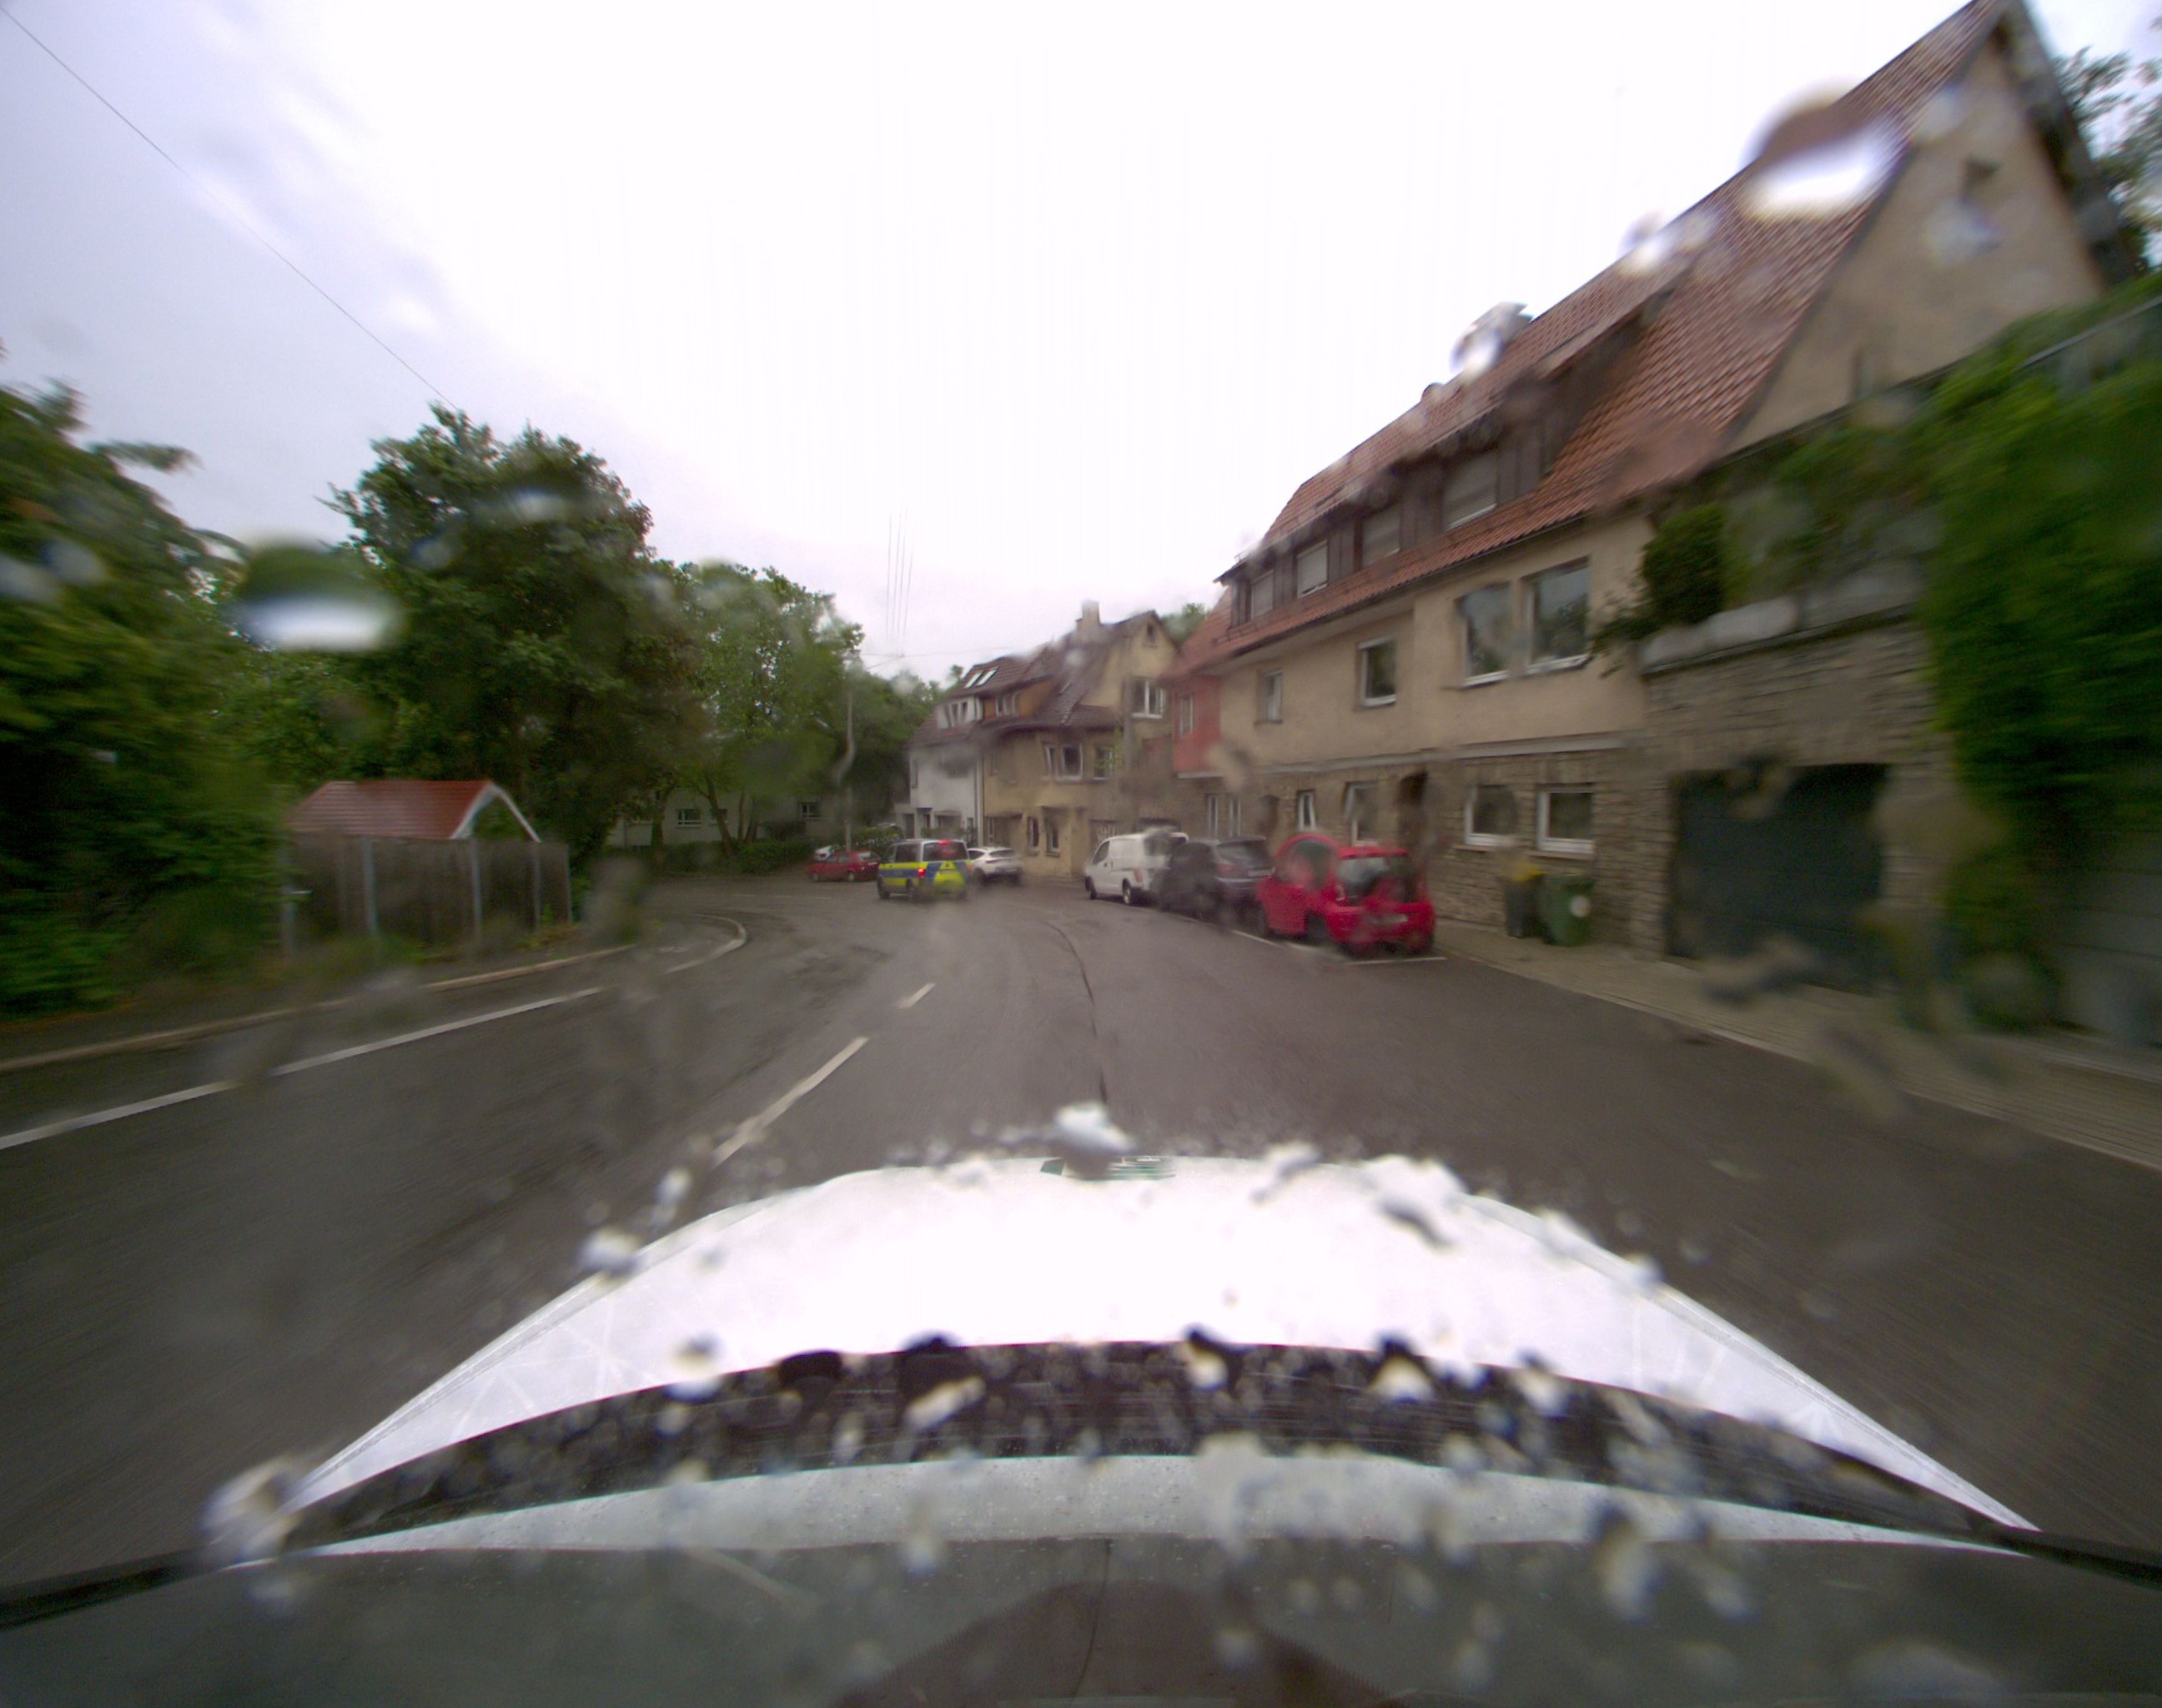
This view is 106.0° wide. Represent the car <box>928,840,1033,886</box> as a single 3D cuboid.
[{"bbox_3d":[-3.967,0.347,31.525,1.930,1.538,4.363,-5,3,-39],"label":"car"}]

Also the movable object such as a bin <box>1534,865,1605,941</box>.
[{"bbox_3d":[6.500,0.637,10.857,0.594,0.923,0.513,-4,2,-5],"label":"movable object such as a bin"}]

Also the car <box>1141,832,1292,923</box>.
[{"bbox_3d":[2.753,0.383,17.589,1.617,1.604,4.393,-4,2,-12],"label":"car"}]

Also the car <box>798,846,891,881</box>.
[{"bbox_3d":[-11.097,0.447,38.180,4.141,1.367,1.798,-2,2,32],"label":"car"}]

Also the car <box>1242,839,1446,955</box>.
[{"bbox_3d":[3.810,0.545,12.445,1.613,1.435,3.573,-2,0,-6],"label":"car"}]

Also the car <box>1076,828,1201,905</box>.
[{"bbox_3d":[1.450,0.277,22.390,1.711,1.790,4.296,-4,2,-21],"label":"car"}]

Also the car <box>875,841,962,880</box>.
[{"bbox_3d":[-7.009,0.292,34.992,3.775,1.514,1.781,-2,3,44],"label":"car"}]

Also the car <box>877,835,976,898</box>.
[{"bbox_3d":[-5.246,0.411,27.133,2.005,1.893,4.528,-1,-1,-28],"label":"car"}]

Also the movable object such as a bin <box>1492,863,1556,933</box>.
[{"bbox_3d":[6.331,0.621,11.663,0.586,0.923,0.507,-4,2,-5],"label":"movable object such as a bin"}]

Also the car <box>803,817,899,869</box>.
[{"bbox_3d":[-12.573,-0.668,44.563,4.425,1.841,1.982,-15,9,-28],"label":"car"}]
